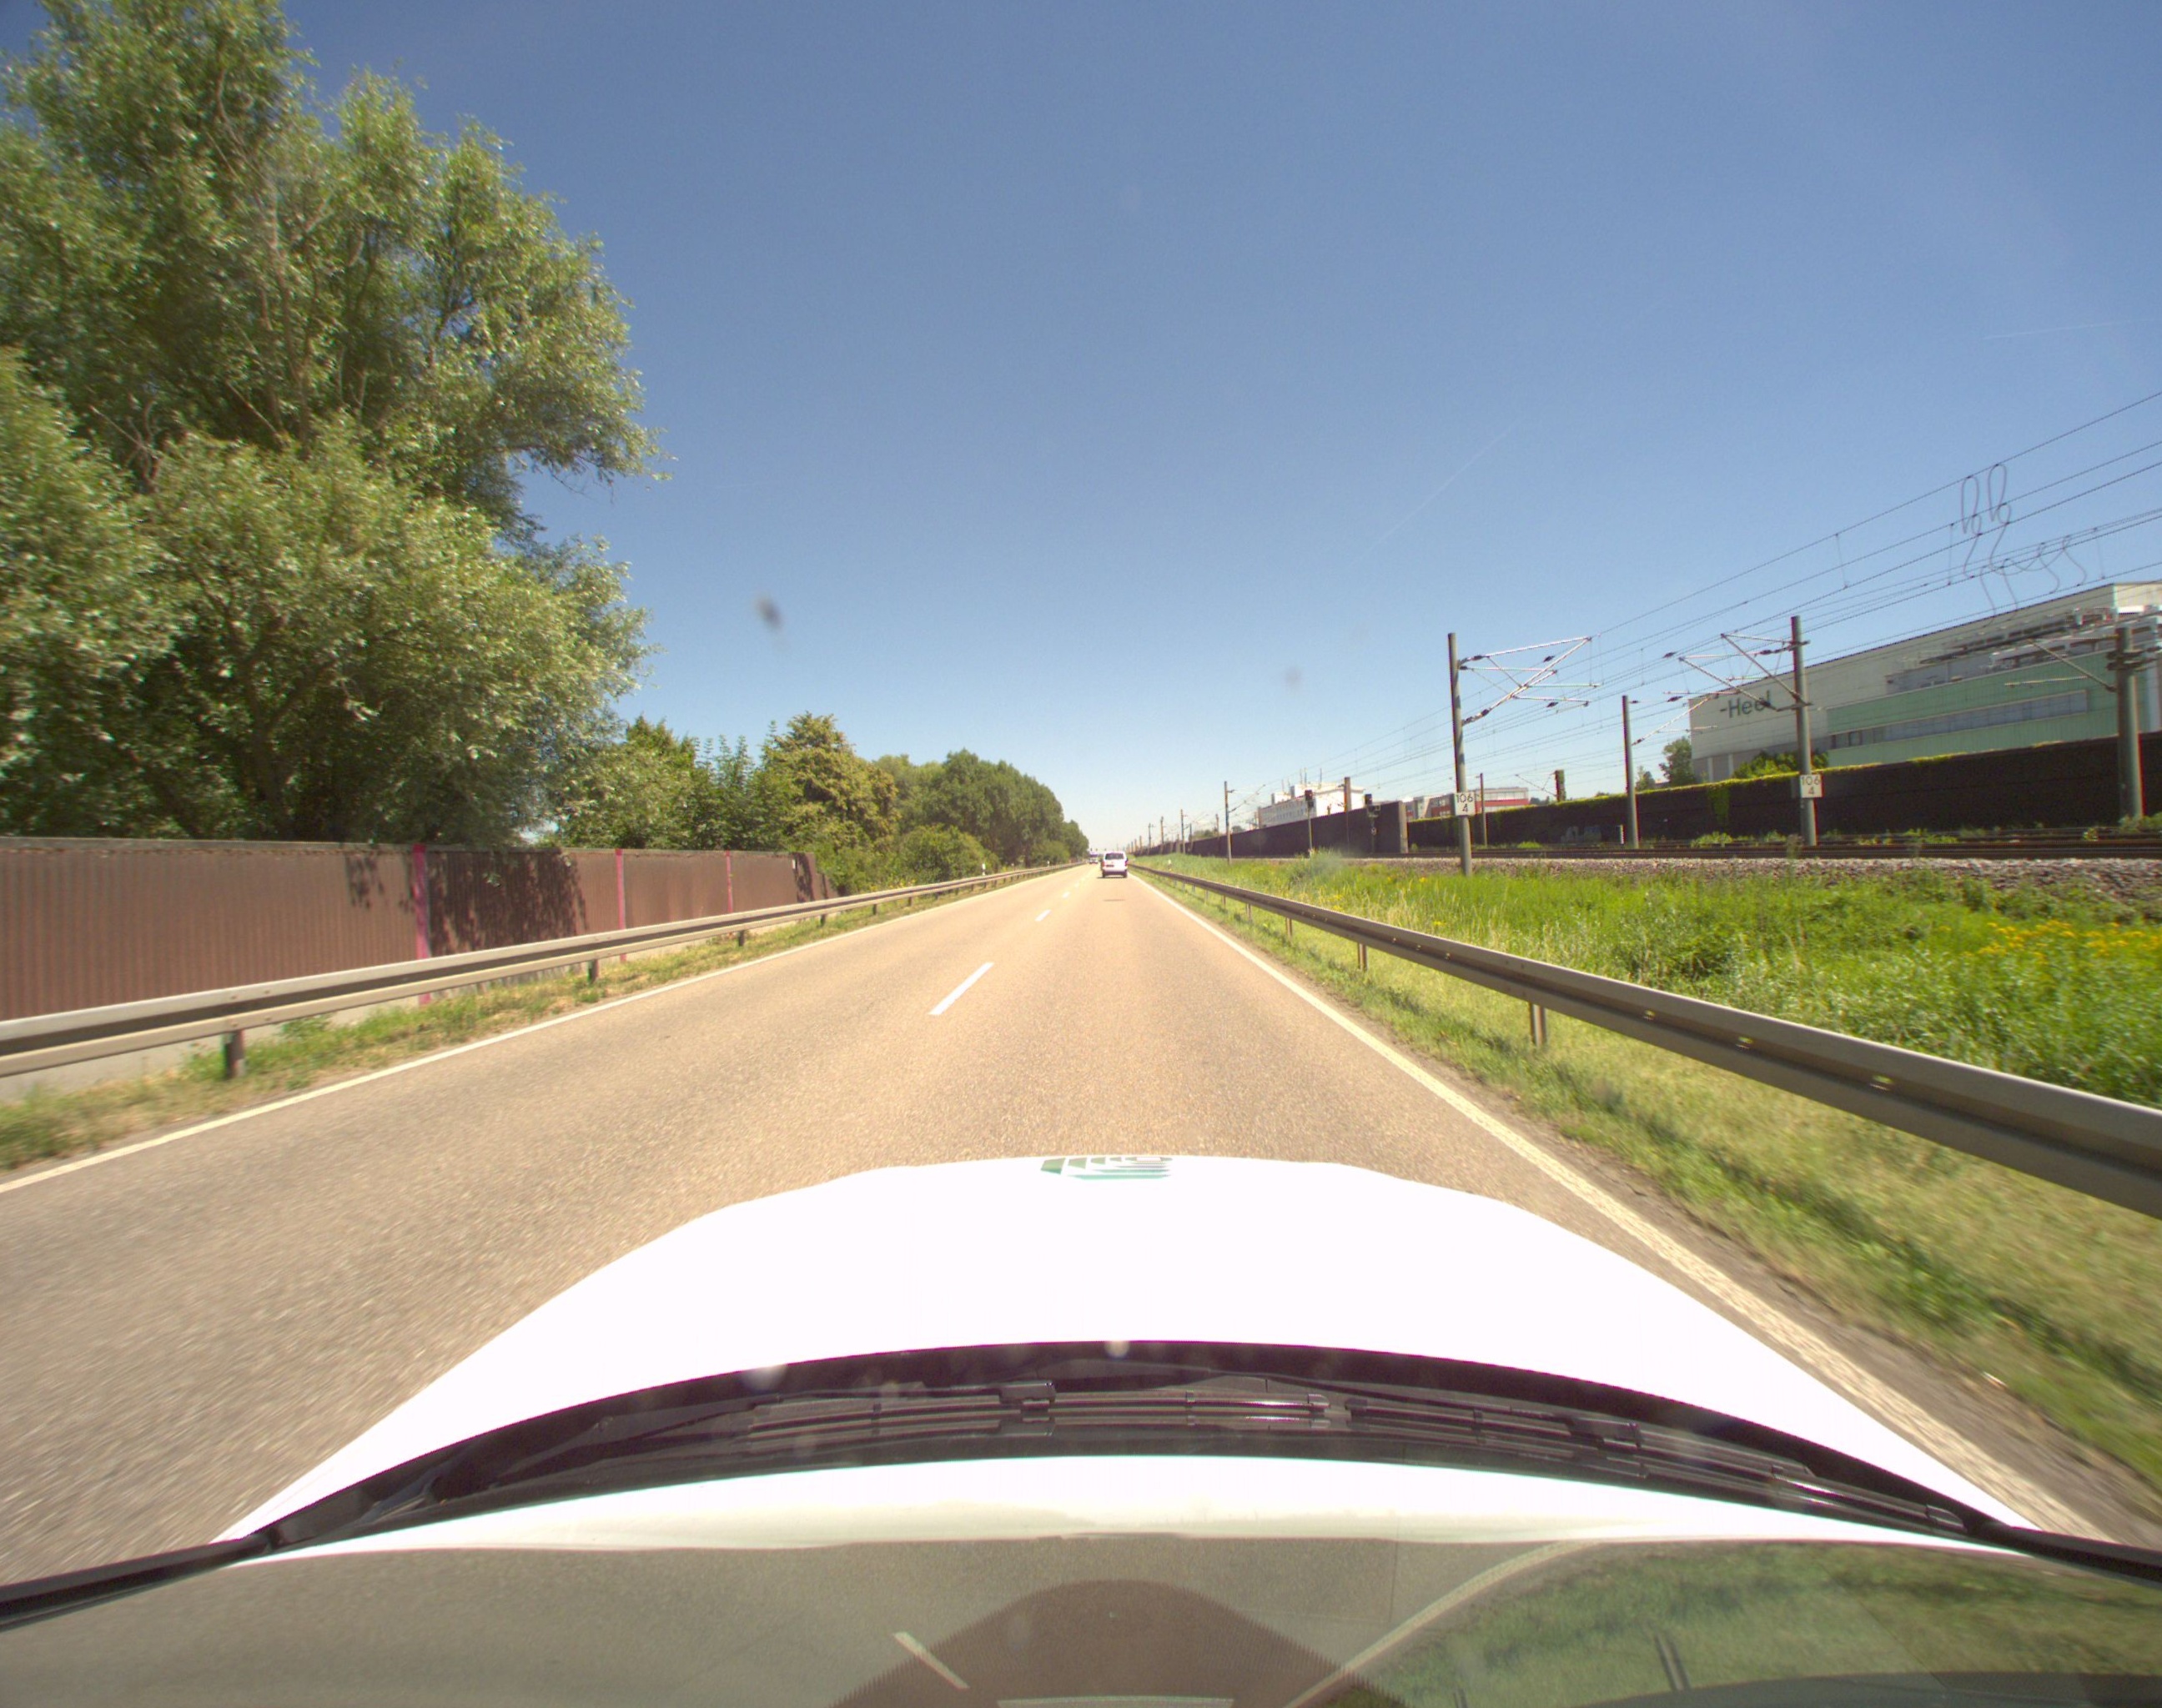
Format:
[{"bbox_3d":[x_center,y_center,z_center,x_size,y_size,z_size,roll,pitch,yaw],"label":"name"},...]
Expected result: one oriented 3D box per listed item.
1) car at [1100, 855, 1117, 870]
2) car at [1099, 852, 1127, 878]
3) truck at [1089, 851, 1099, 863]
[{"bbox_3d":[3.363,1.046,99.801,1.986,1.850,4.001,-1,0,2],"label":"car"},{"bbox_3d":[2.404,0.822,60.941,1.986,1.850,4.001,-1,0,2],"label":"car"},{"bbox_3d":[3.834,0.916,241.559,2.773,3.405,7.991,-1,0,1],"label":"truck"}]
